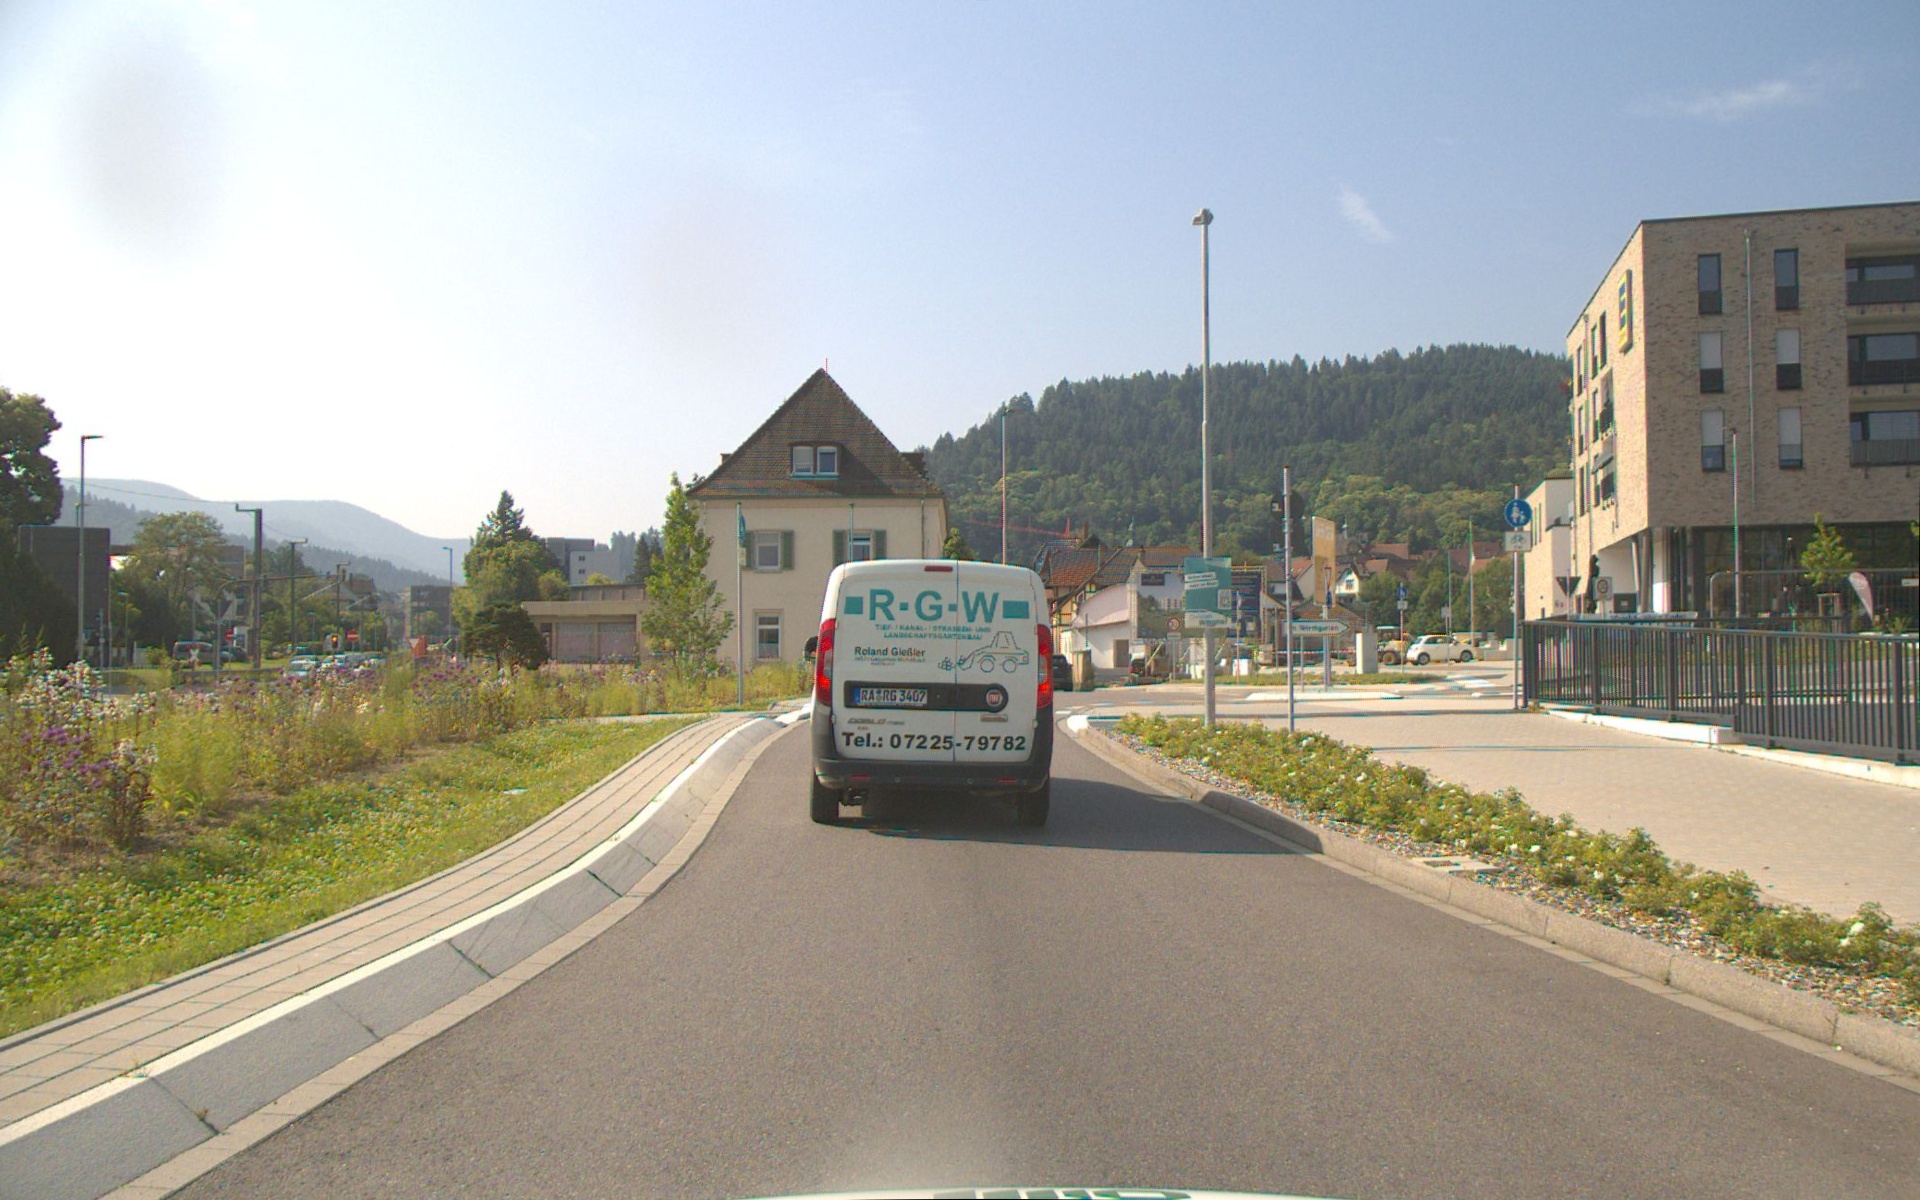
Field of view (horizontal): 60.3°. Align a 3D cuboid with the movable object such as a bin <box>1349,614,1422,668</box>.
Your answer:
[{"bbox_3d":[15.439,1.503,60.145,2.391,1.876,1.429,-2,-2,9],"label":"movable object such as a bin"}]

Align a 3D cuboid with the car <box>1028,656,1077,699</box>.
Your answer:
[{"bbox_3d":[3.975,3.288,70.696,1.841,1.713,4.002,-2,-2,6],"label":"car"}]

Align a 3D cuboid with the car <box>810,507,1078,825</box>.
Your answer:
[{"bbox_3d":[-0.250,0.476,13.479,1.770,2.114,4.600,1,-1,-4],"label":"car"}]

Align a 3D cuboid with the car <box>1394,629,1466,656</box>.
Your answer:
[{"bbox_3d":[24.694,2.237,86.949,3.402,1.326,1.468,-1,-1,2],"label":"car"}]

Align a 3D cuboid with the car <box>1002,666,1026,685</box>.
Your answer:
[{"bbox_3d":[2.986,4.167,91.723,1.279,1.021,3.091,-1,-2,1],"label":"car"}]

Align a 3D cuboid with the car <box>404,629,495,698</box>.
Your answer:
[{"bbox_3d":[-16.285,1.991,52.935,1.773,2.049,3.998,-1,-1,-2],"label":"car"}]

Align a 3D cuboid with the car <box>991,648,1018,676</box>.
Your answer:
[{"bbox_3d":[3.407,4.770,126.542,1.952,2.049,4.000,-1,-2,2],"label":"car"}]
